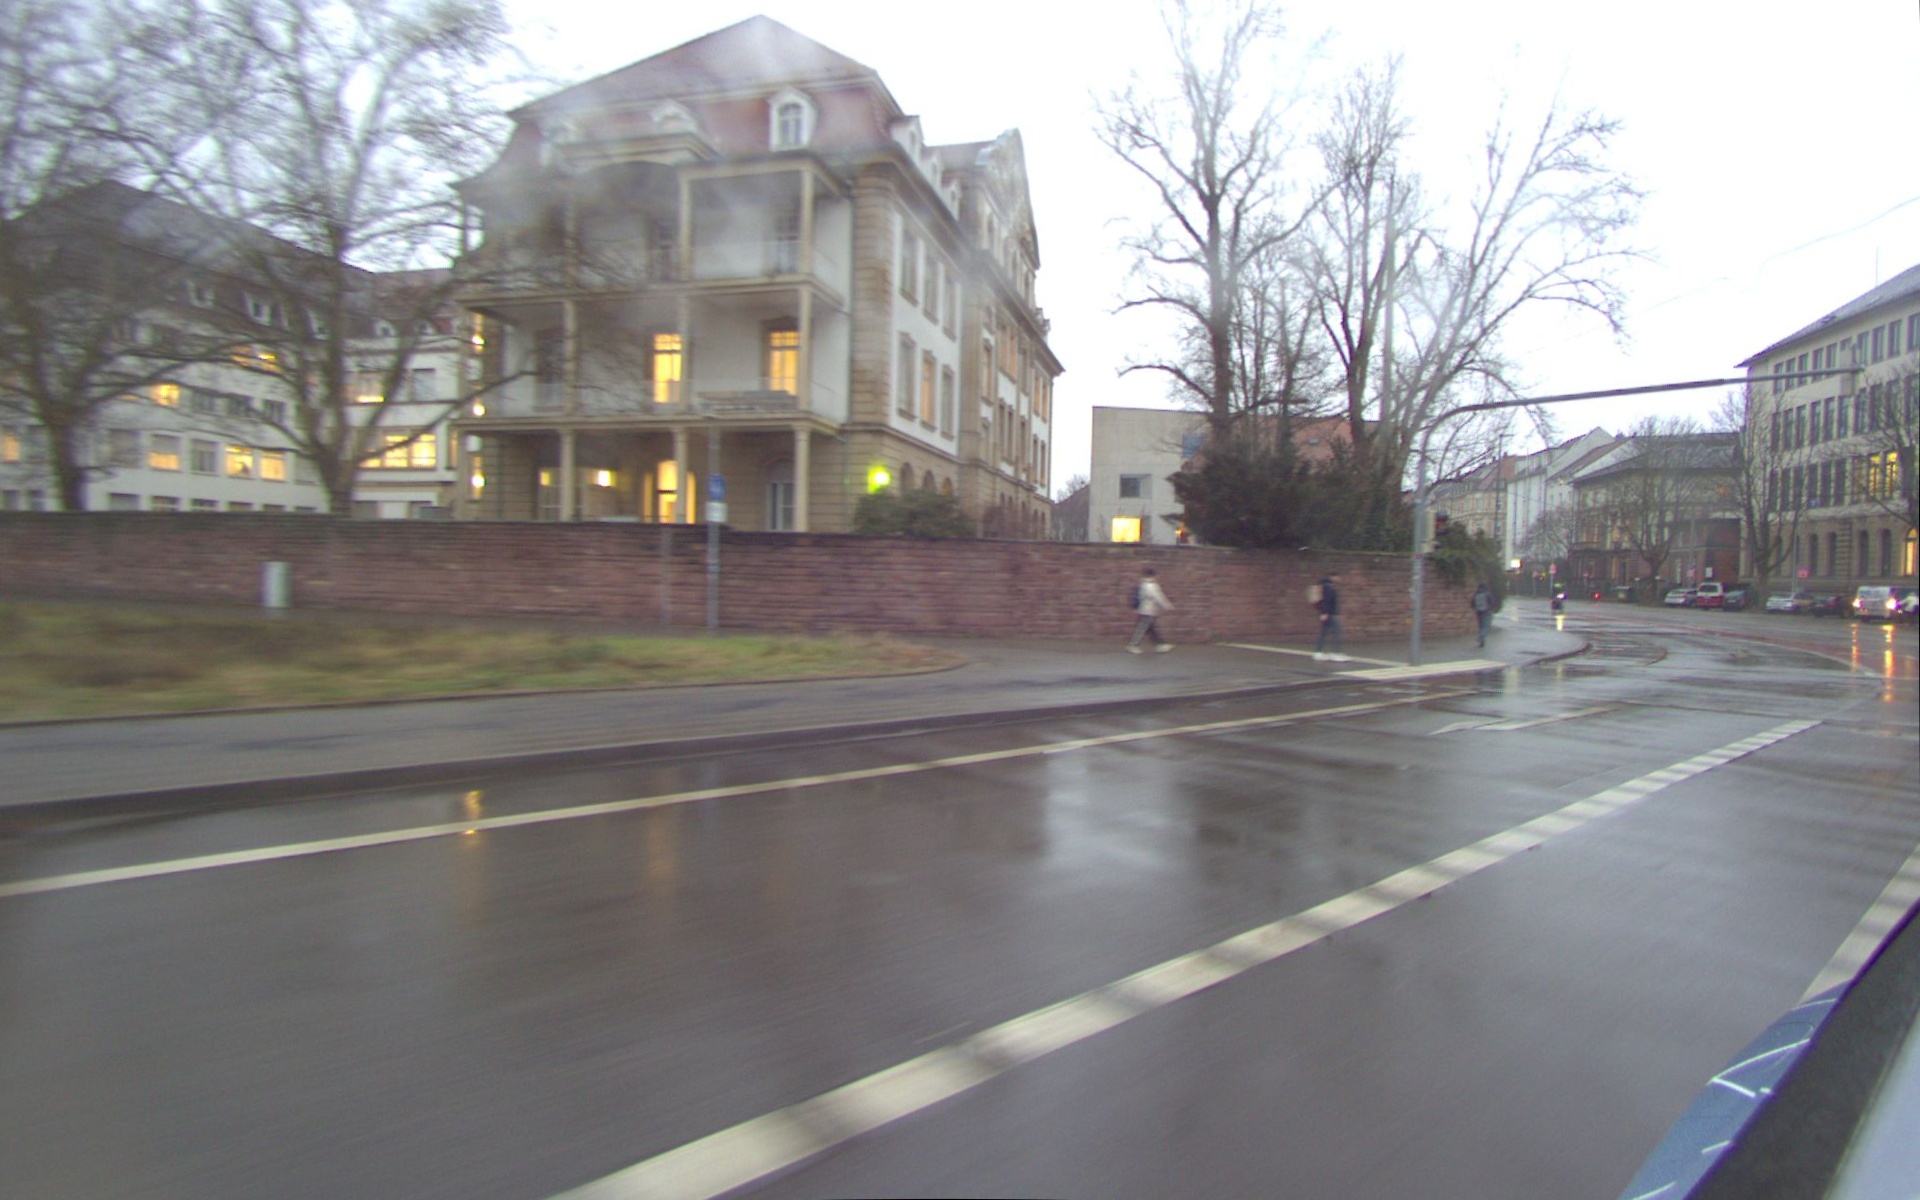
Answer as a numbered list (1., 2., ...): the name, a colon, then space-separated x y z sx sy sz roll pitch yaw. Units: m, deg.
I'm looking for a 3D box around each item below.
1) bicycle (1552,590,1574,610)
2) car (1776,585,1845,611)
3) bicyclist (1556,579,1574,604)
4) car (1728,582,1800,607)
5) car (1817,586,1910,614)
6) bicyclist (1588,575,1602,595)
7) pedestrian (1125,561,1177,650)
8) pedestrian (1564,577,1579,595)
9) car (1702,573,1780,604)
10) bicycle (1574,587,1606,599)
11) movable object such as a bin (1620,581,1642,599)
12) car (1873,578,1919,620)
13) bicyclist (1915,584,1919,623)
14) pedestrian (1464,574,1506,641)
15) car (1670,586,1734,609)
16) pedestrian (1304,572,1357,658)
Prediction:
1. bicycle: 34.037 -0.001 57.153 0.715 1.104 2.269 0 0 21
2. car: 54.150 -0.148 64.430 3.747 1.475 1.641 -2 2 -19
3. bicyclist: 34.108 -0.470 57.054 0.709 1.359 0.714 -1 1 22
4. car: 55.094 -0.415 69.363 3.894 1.558 1.828 -1 2 -13
5. car: 53.018 0.001 59.435 4.384 1.475 1.804 -1 2 -12
6. bicyclist: 53.344 -1.261 85.014 0.846 1.615 0.776 -1 1 19
7. pedestrian: 3.805 0.094 20.195 0.947 1.696 0.777 2 2 11
8. pedestrian: 60.414 -1.381 99.995 0.905 1.724 0.949 -1 1 -8
9. car: 55.900 -0.827 72.429 4.526 2.079 1.970 -1 1 -12
10. bicycle: 53.043 -0.626 85.257 2.095 0.956 0.939 0 2 19
11. movable object such as a bin: 59.385 -0.894 89.571 0.966 1.482 1.347 -2 2 -23
12. car: 51.107 -0.113 53.866 4.704 2.059 1.916 -2 2 -23
13. bicyclist: 44.672 0.176 46.793 0.578 1.789 0.612 -2 1 -32
14. pedestrian: 13.903 0.180 26.796 0.802 1.705 1.143 4 2 32
15. car: 57.246 -0.203 78.058 4.097 1.610 1.779 -2 2 -14
16. pedestrian: 7.655 0.291 20.898 0.788 1.696 0.720 4 2 36
